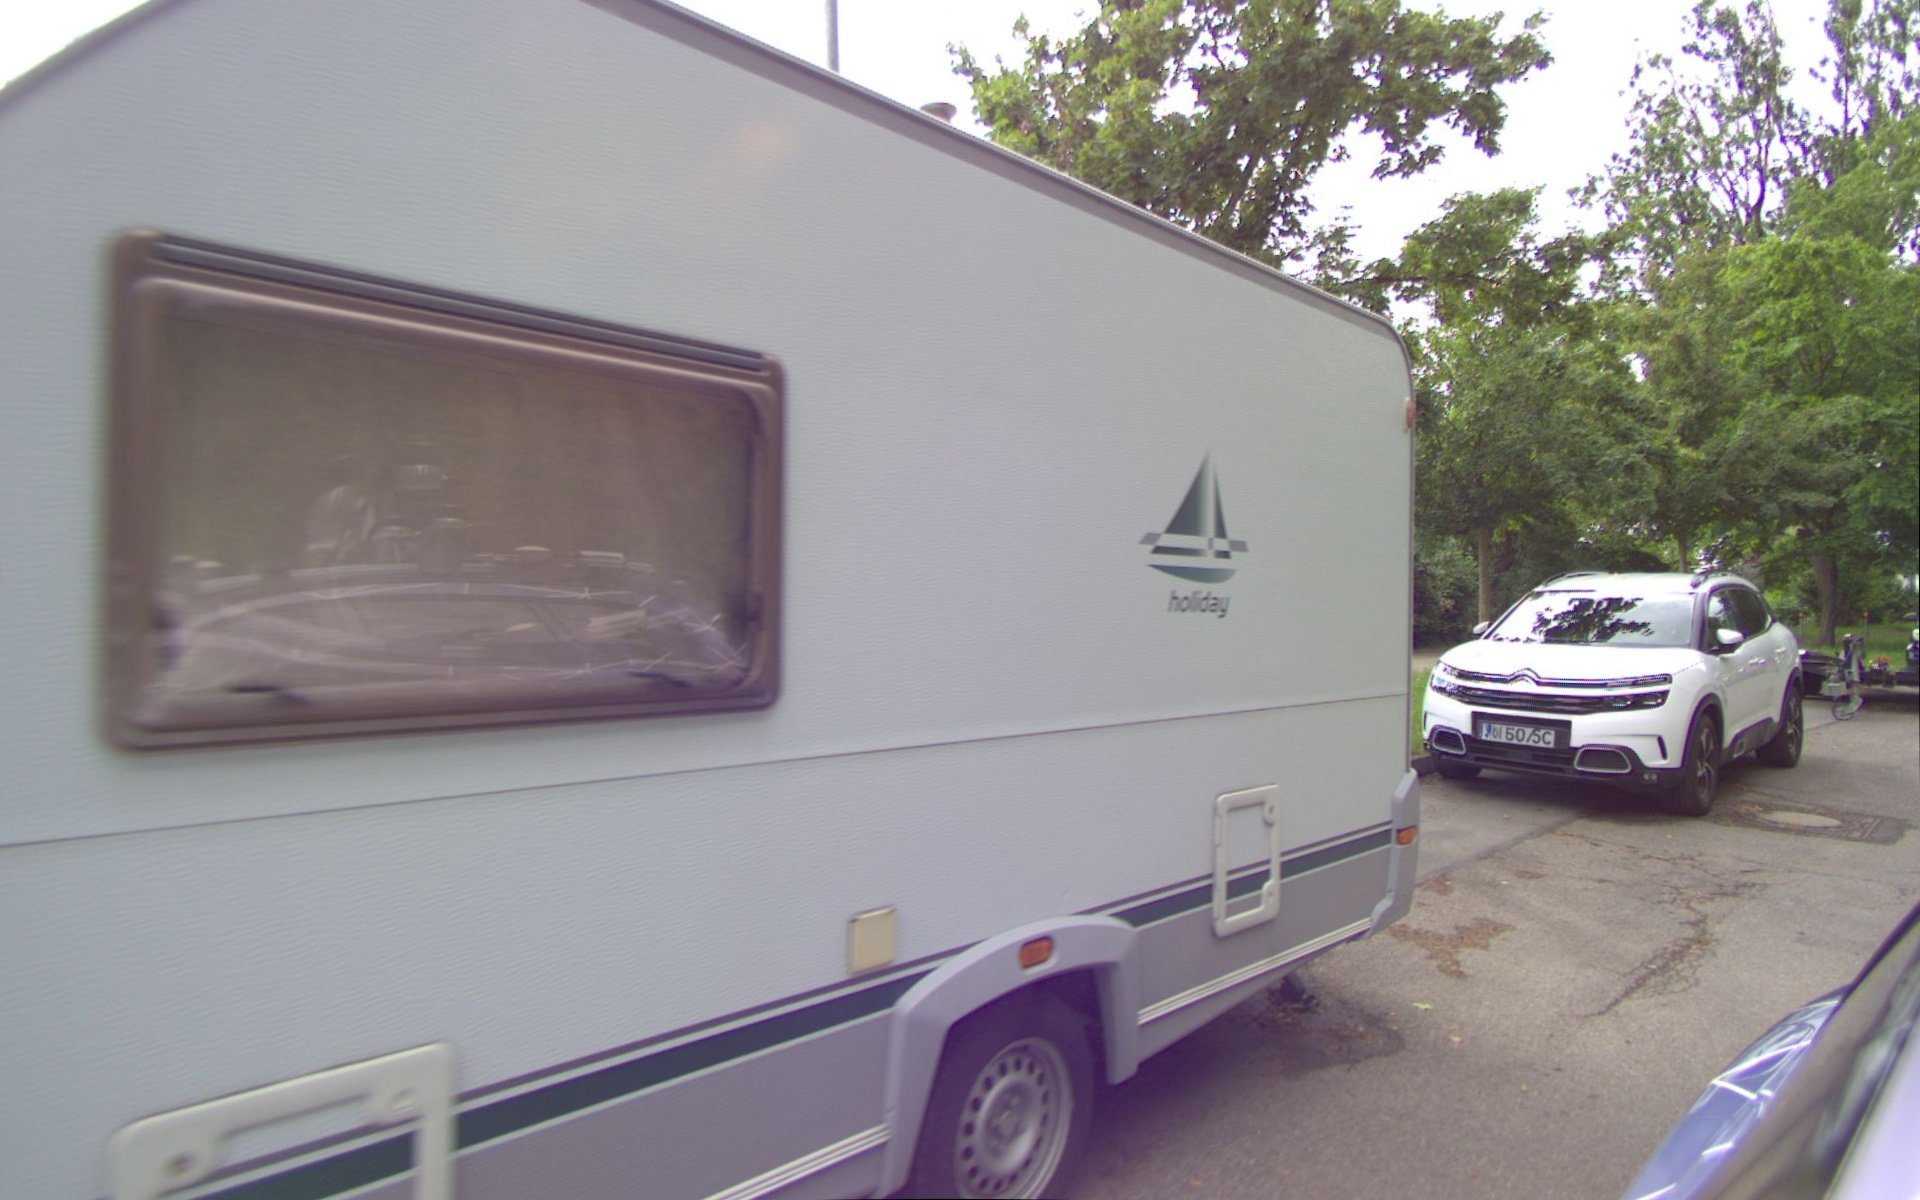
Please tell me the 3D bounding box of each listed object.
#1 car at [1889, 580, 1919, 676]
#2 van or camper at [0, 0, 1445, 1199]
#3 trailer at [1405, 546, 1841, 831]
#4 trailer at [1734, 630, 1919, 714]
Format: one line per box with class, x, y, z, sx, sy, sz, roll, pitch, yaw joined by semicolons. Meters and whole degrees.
car;17.059;0.415;16.675;3.338;1.541;1.736;-1;0;-32
van or camper;-1.175;0.131;2.445;5.928;2.568;2.164;0;0;-42
trailer;5.649;0.463;8.370;4.568;1.752;1.776;-2;2;-40
trailer;12.397;0.844;13.199;6.284;0.659;2.109;-1;0;-38
